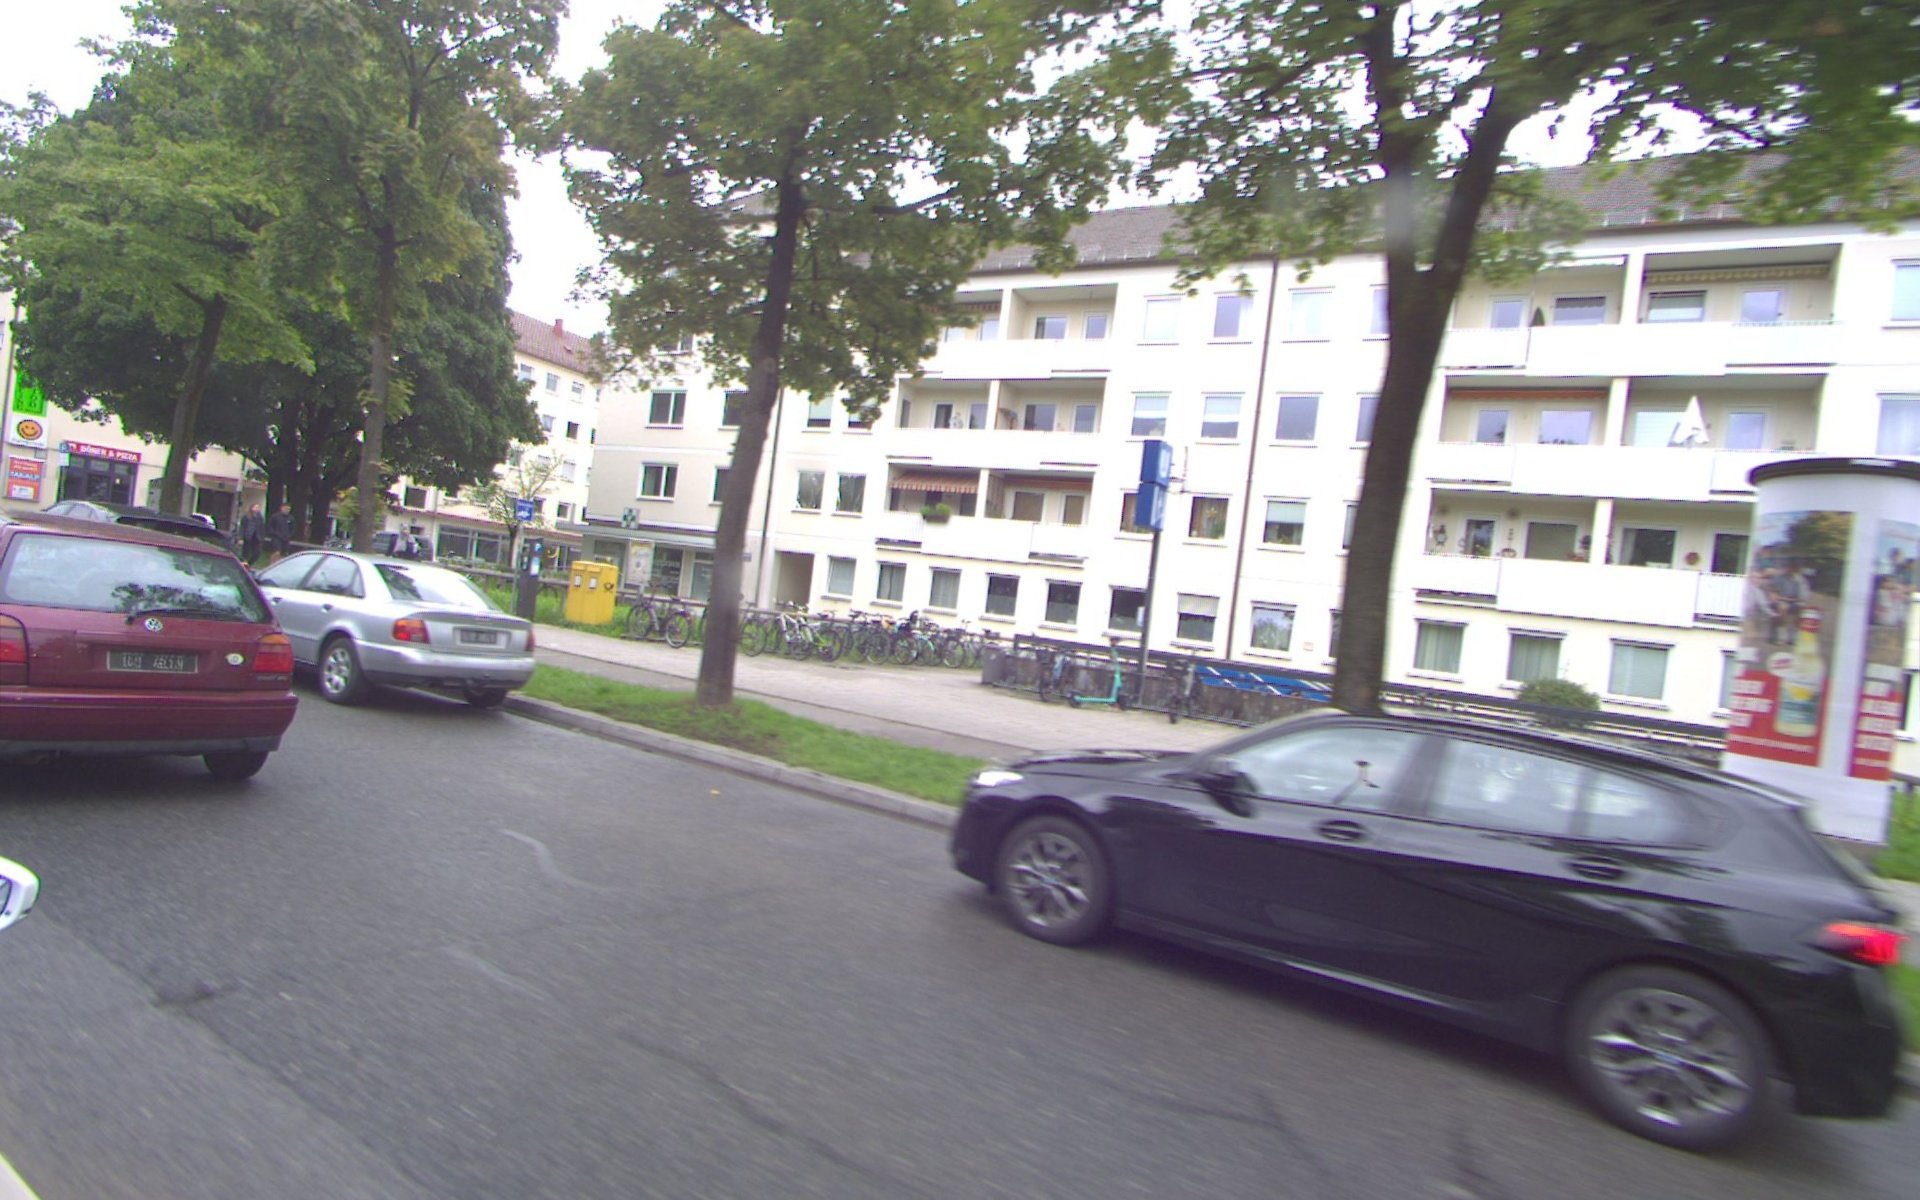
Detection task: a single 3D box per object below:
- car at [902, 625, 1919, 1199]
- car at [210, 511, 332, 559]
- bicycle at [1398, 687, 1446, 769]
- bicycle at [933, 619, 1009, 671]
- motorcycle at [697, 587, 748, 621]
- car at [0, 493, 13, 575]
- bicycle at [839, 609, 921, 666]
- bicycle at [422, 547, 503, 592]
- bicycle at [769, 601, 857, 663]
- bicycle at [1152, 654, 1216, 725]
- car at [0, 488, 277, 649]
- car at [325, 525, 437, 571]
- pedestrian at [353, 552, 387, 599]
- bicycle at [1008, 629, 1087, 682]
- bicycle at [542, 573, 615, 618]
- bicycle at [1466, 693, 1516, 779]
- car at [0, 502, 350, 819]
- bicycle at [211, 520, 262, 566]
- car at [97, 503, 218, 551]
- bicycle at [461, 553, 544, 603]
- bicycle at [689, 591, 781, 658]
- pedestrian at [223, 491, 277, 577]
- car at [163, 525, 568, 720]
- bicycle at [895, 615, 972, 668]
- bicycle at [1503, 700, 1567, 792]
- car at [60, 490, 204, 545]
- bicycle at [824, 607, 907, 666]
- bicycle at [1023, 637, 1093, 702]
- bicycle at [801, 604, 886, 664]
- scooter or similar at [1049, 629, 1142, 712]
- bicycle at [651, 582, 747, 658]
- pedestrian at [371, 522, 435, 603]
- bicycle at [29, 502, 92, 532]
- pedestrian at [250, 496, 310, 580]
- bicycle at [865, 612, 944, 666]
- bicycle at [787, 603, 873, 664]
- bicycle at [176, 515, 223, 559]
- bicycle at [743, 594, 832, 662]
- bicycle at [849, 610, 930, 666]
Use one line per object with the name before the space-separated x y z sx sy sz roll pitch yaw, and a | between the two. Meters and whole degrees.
car | 1.952 1.186 5.201 4.107 1.482 1.754 7 -2 33
car | -33.145 -3.105 48.552 1.839 1.681 4.401 7 0 28
bicycle | 6.741 1.825 14.645 0.425 1.041 1.881 7 0 28
bicycle | 0.256 1.116 25.187 1.852 1.041 0.431 8 1 32
motorcycle | -8.984 0.160 38.014 1.875 1.035 0.605 7 -1 32
car | -19.772 -1.523 18.913 4.067 1.481 1.687 7 -3 31
bicycle | -1.811 0.835 22.606 1.852 1.041 0.431 8 1 32
bicycle | -13.502 -0.816 27.358 0.549 0.950 1.880 7 -2 33
bicycle | -3.032 0.651 20.676 1.852 1.041 0.431 8 1 32
bicycle | 3.709 1.450 16.535 0.425 1.041 1.881 7 0 28
car | -11.103 -0.461 13.300 4.204 1.550 1.720 7 -2 32
car | -30.711 -2.737 53.490 1.840 1.795 4.742 7 0 30
pedestrian | -13.180 -0.544 22.468 0.427 0.961 0.408 7 1 30
bicycle | 2.149 1.363 24.806 1.852 1.041 0.431 8 1 32
bicycle | -10.323 -0.107 27.272 0.426 0.985 1.880 6 -2 32
bicycle | 7.508 1.889 14.274 0.425 1.041 1.882 7 0 25
car | -5.619 0.144 5.984 3.853 1.399 1.686 7 -2 31
bicycle | -20.334 -1.607 28.254 1.852 1.116 0.382 7 -1 32
car | -33.836 -3.053 42.489 1.842 1.434 3.550 8 0 35
bicycle | -11.387 -0.537 25.095 0.425 0.985 1.880 7 -2 32
bicycle | -4.312 0.462 19.214 1.852 1.041 0.431 8 1 32
pedestrian | -16.807 -1.554 23.816 0.887 1.913 0.588 7 1 30
car | -6.314 0.207 10.593 4.171 1.402 1.640 7 -2 29
bicycle | -0.656 0.999 24.402 1.852 1.041 0.431 8 1 32
bicycle | 7.851 1.958 13.788 0.425 1.041 1.882 7 0 23
car | -35.958 -3.560 43.832 1.839 1.681 4.402 7 0 27
bicycle | -2.096 0.798 22.210 1.852 1.041 0.431 8 1 32
bicycle | 1.739 1.215 17.613 0.425 1.041 1.881 7 0 28
bicycle | -2.517 0.721 21.571 1.852 1.041 0.431 8 1 32
scooter or similar | 2.248 1.173 16.695 1.367 1.216 0.358 7 1 -11
bicycle | -4.803 0.362 18.452 1.852 1.148 0.431 8 2 32
pedestrian | -12.675 -0.842 22.903 0.821 1.702 0.839 7 1 30
bicycle | -38.700 -3.580 43.312 0.548 0.968 1.852 7 -2 30
pedestrian | -16.500 -1.501 24.413 0.904 1.913 0.730 7 1 30
bicycle | -1.311 0.911 23.720 1.852 1.041 0.431 8 1 32
bicycle | -2.739 0.691 21.140 1.852 1.041 0.431 8 1 32
bicycle | -22.260 -1.857 29.427 1.823 1.118 0.389 7 -1 32
bicycle | -3.466 0.554 20.124 1.852 1.115 0.431 8 1 32
bicycle | -1.629 0.869 23.073 1.852 1.041 0.431 8 1 32
